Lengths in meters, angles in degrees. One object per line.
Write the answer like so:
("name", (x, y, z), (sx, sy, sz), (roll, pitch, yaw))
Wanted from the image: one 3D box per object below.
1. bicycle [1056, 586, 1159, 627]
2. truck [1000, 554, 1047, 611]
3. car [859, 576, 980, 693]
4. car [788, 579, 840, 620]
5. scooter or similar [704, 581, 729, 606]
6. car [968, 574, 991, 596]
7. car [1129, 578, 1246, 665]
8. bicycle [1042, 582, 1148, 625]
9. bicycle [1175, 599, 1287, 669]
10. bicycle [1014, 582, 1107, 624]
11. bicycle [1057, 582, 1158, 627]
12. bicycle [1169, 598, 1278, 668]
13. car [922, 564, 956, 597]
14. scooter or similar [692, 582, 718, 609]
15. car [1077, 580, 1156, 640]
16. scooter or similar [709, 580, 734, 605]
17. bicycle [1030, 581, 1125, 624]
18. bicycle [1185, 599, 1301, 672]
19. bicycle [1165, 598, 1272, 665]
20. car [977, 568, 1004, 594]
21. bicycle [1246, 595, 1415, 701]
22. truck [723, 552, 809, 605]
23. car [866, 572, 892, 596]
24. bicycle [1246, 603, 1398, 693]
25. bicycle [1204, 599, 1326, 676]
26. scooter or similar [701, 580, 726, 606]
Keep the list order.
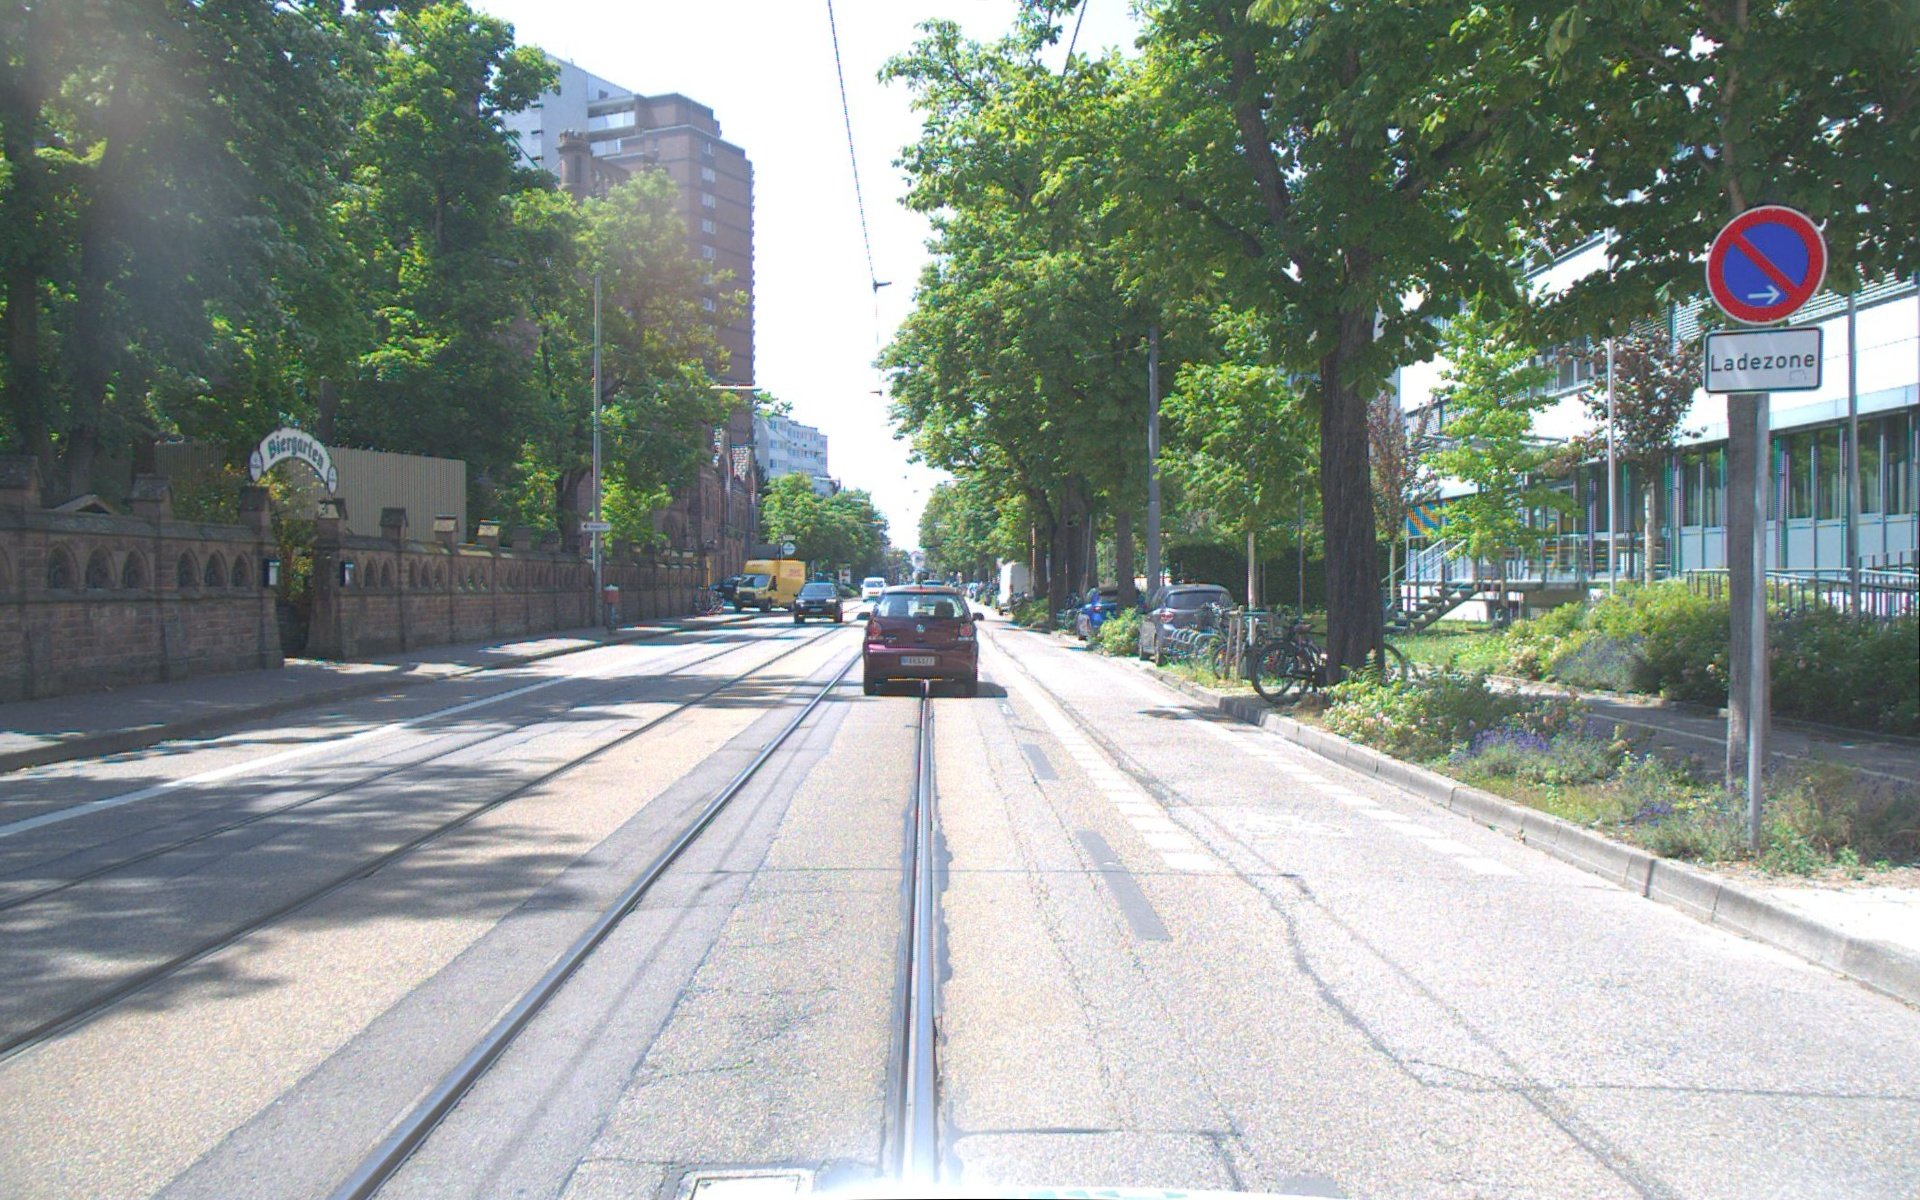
("bicycle", (4.436, 0.202, 49.840), (3.008, 1.175, 0.781), (1, 1, -3))
("truck", (3.102, -0.878, 81.656), (1.953, 2.708, 4.874), (1, 1, -1))
("car", (-0.592, 0.429, 23.860), (1.586, 1.512, 3.999), (-1, 1, -2))
("car", (-5.663, -0.042, 64.630), (1.734, 1.542, 3.999), (-1, 1, -1))
("scooter or similar", (-11.547, -0.291, 78.542), (1.073, 1.175, 0.524), (0, 1, -23))
("car", (1.501, -1.184, 130.296), (1.640, 1.685, 3.999), (1, 1, -1))
("car", (4.361, 0.366, 32.137), (1.654, 1.529, 3.627), (-2, 1, -1))
("bicycle", (4.325, 0.110, 52.982), (3.300, 1.336, 0.781), (1, 1, -3))
("bicycle", (4.383, 0.543, 26.824), (1.715, 1.104, 0.548), (-1, 1, -2))
("bicycle", (3.323, 0.095, 54.789), (3.008, 1.336, 0.781), (1, 1, -3))
("bicycle", (4.554, 0.133, 51.170), (3.008, 1.336, 0.781), (1, 1, -3))
("bicycle", (4.359, 0.542, 27.433), (1.715, 1.104, 0.548), (-1, 1, -2))
("car", (-1.342, -1.256, 104.755), (1.954, 2.048, 3.998), (1, 1, -3))
("scooter or similar", (-11.615, -0.209, 75.240), (1.073, 1.175, 0.524), (0, 1, -23))
("car", (4.152, 0.229, 44.368), (1.654, 1.494, 3.879), (-1, 1, -1))
("scooter or similar", (-11.435, -0.342, 79.246), (1.073, 1.175, 0.524), (0, 1, -23))
("bicycle", (3.826, 0.079, 53.831), (3.008, 1.336, 0.781), (1, 1, -3))
("bicycle", (4.433, 0.557, 25.974), (1.715, 1.104, 0.548), (-1, 1, -2))
("bicycle", (4.388, 0.532, 28.082), (1.715, 1.104, 0.548), (-1, 1, -2))
("car", (2.085, -1.314, 113.216), (1.640, 1.685, 3.999), (1, 1, -1))
("bicycle", (4.436, 0.569, 19.880), (1.845, 1.203, 0.694), (-1, 0, -2))
("truck", (-10.868, -1.216, 93.294), (2.319, 2.835, 7.326), (0, 1, 14))
("car", (-6.504, -1.294, 132.927), (1.953, 1.887, 4.681), (-1, 1, -1))
("bicycle", (4.604, 0.609, 21.130), (1.787, 1.104, 0.719), (-1, 0, 2))
("bicycle", (4.583, 0.557, 24.915), (1.715, 1.104, 0.548), (-1, 1, -2))
("scooter or similar", (-11.609, -0.334, 77.857), (1.073, 1.175, 0.524), (0, 1, -23))
